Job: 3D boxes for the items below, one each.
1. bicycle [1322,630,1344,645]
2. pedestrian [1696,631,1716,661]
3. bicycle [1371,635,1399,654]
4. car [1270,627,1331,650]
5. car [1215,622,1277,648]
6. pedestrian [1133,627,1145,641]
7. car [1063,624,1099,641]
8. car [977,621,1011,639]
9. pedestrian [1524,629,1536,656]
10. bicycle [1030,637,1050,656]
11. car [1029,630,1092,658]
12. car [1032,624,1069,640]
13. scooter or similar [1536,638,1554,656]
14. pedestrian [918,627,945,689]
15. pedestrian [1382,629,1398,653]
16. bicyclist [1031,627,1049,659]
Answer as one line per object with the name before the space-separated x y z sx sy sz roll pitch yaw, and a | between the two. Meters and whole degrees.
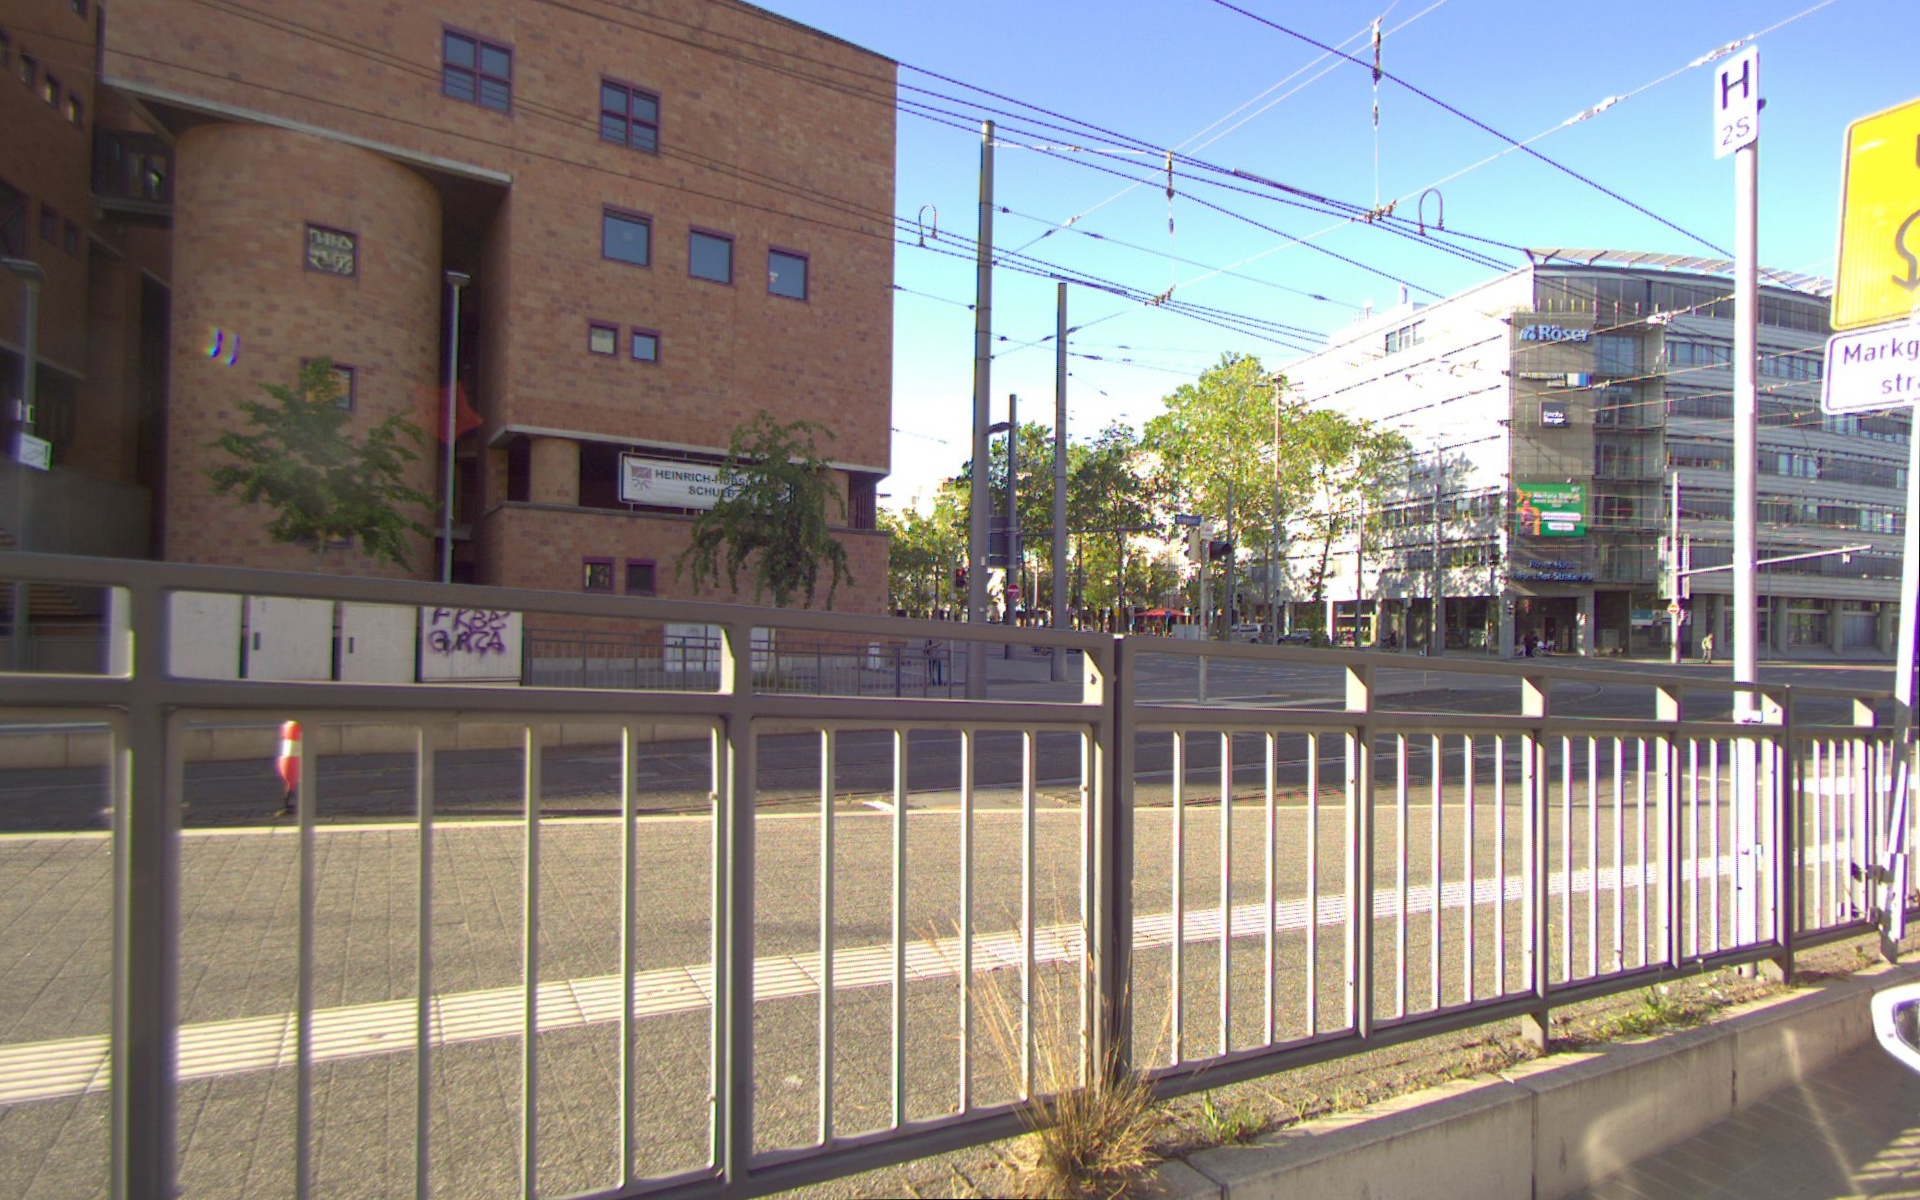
bicycle | 29.188 2.940 78.550 1.812 1.167 0.467 0 0 -23
pedestrian | 47.022 2.893 63.352 0.874 1.847 0.673 2 -3 -26
bicycle | 29.642 3.096 70.006 0.605 1.179 1.835 -2 1 -27
car | 25.635 2.868 75.672 1.840 1.594 4.387 -1 0 -25
car | 22.881 2.774 80.534 1.904 1.868 4.889 -1 0 -28
pedestrian | 19.344 3.668 108.656 0.860 1.567 0.989 2 -1 -22
car | 12.199 3.244 101.504 1.840 1.660 3.844 1 -1 -25
car | 3.891 3.427 116.805 2.011 2.003 4.382 0 -1 -29
pedestrian | 37.022 2.759 65.211 0.627 1.731 0.580 1 -1 31
bicycle | 4.136 2.408 51.924 0.528 0.925 1.564 1 -1 -16
car | 5.546 2.443 55.865 1.637 1.346 3.591 2 0 -31
car | 9.607 3.343 106.672 1.969 1.650 4.055 0 -1 -29
scooter or similar | 37.712 3.004 64.782 1.001 1.144 0.549 0 -1 32
pedestrian | -0.781 1.573 27.378 0.501 1.638 0.504 2 0 -40
pedestrian | 30.036 2.850 70.196 0.599 1.633 0.831 -2 2 -28
bicyclist | 4.134 2.233 51.930 0.614 1.643 0.812 2 -1 -17
